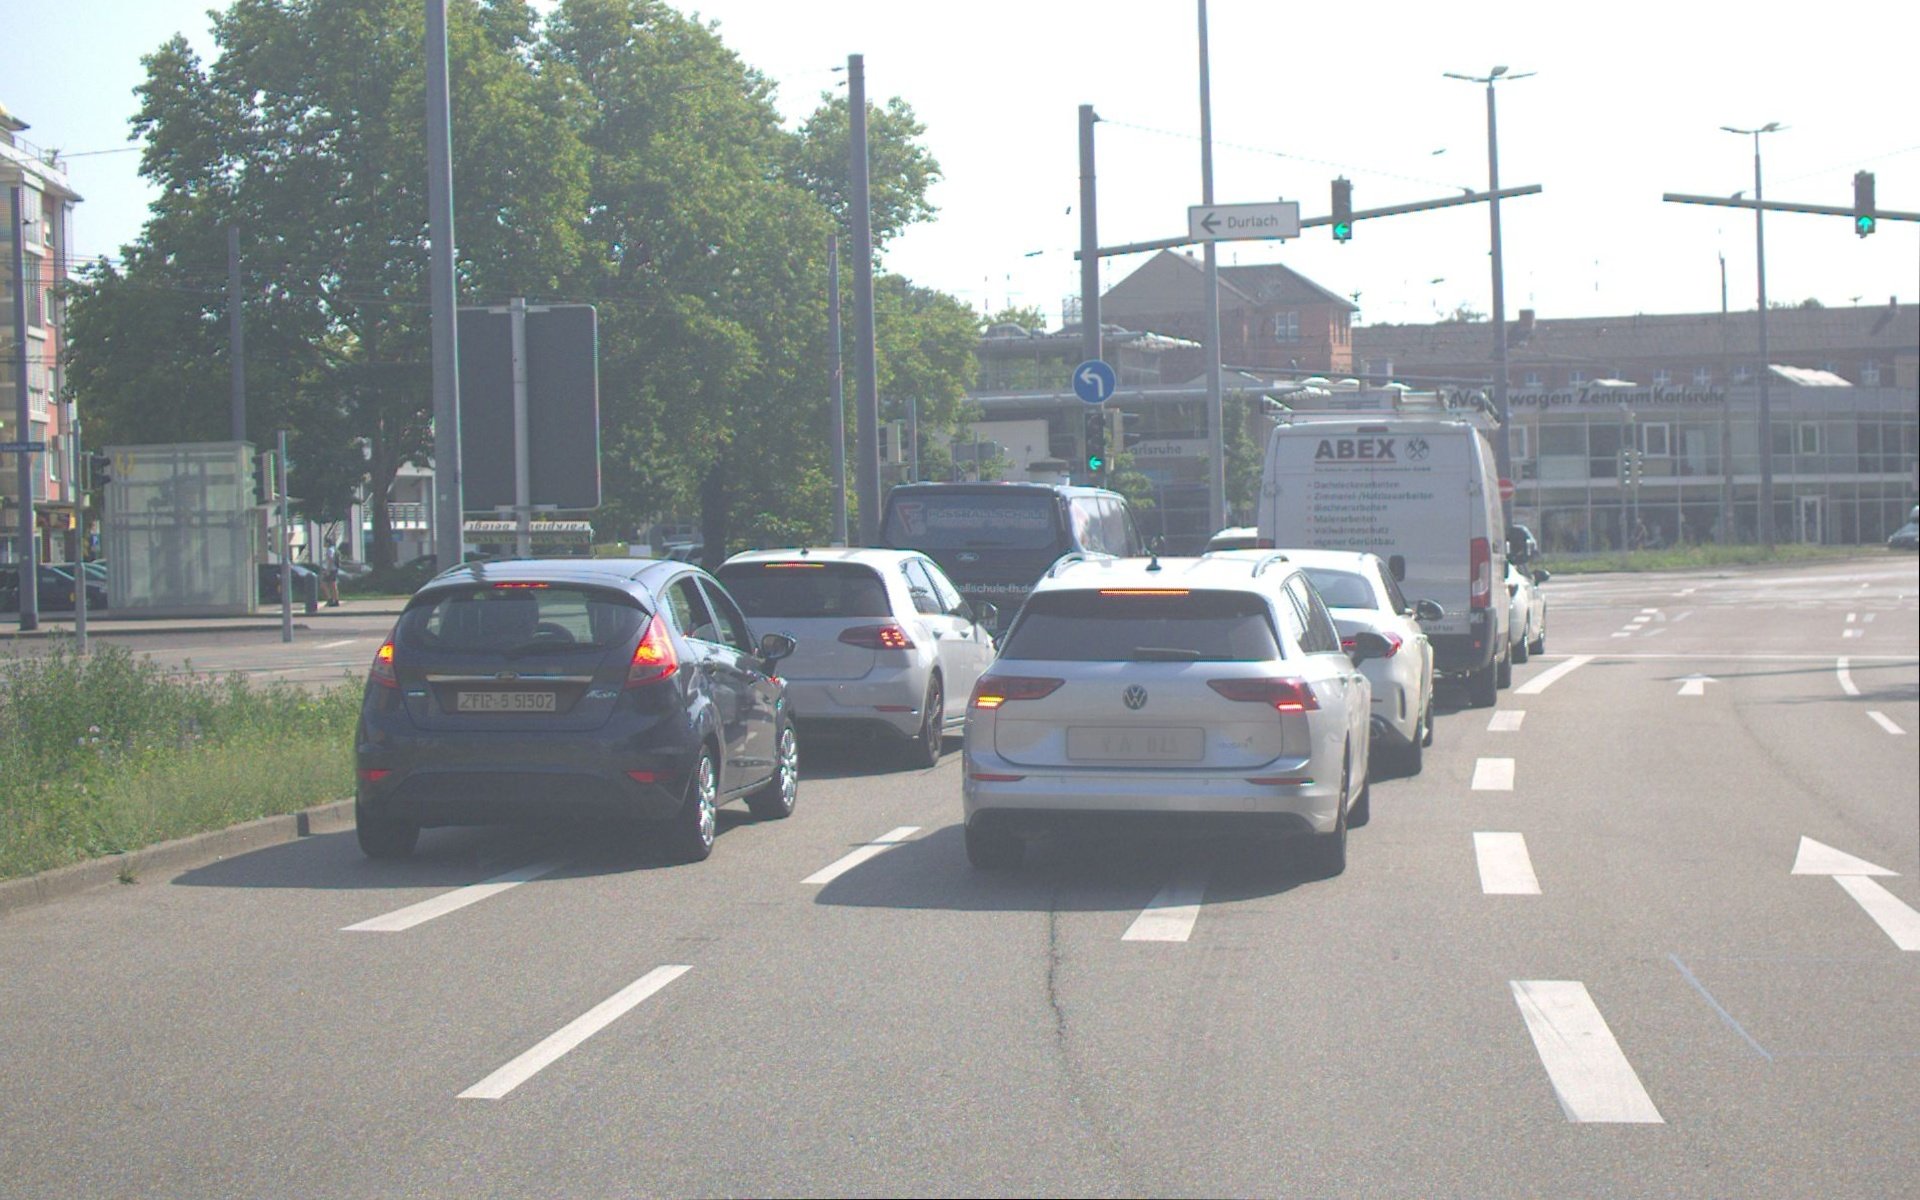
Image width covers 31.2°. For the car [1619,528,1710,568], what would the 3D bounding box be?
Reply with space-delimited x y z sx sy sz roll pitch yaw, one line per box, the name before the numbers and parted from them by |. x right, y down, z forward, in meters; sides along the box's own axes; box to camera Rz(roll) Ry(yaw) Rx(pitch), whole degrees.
car | 26.676 -1.969 130.136 1.997 1.437 3.993 -1 1 33

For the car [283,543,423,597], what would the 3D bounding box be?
car | -18.435 -0.930 104.529 3.986 1.552 1.728 -1 1 -4

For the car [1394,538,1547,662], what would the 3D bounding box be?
car | 6.209 -0.030 41.572 1.638 1.398 3.685 -1 1 11

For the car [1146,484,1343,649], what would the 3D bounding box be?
car | 3.730 -0.455 44.394 2.024 2.001 4.681 0 1 11

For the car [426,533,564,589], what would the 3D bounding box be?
car | -14.384 -1.218 106.477 3.987 1.612 1.813 -1 1 1

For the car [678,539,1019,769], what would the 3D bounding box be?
car | -0.688 0.317 23.642 1.490 1.410 3.646 -1 2 12

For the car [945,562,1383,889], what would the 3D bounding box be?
car | 1.085 0.520 16.522 1.685 1.383 3.633 0 1 10

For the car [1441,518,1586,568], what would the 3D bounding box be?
car | 15.951 -1.658 99.220 3.966 1.337 1.930 -1 1 5

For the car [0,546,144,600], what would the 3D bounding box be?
car | -27.008 -0.817 104.520 3.986 1.552 1.869 -1 1 -4

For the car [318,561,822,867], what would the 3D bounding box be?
car | -1.861 0.501 17.624 1.701 1.363 3.963 -1 1 7

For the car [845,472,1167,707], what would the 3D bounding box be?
car | 0.522 -0.127 31.808 2.024 2.001 4.681 0 1 13

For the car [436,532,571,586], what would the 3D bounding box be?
car | -14.376 -1.293 108.432 3.987 1.612 1.813 -1 1 1

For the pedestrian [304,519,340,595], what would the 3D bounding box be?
pedestrian | -17.049 -1.140 91.904 0.822 2.007 0.509 -1 1 -1

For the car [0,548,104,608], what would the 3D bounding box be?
car | -26.451 -0.614 97.313 3.986 1.552 1.869 -1 4 -2

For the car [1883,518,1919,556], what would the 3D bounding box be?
car | 38.375 -2.546 137.270 1.997 1.437 3.994 -1 1 29

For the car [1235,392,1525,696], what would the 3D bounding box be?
car | 3.910 -0.487 31.283 2.190 2.540 4.681 0 1 12

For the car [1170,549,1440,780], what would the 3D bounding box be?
car | 2.373 0.375 22.917 1.489 1.398 3.941 0 1 10

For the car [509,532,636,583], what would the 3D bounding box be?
car | -12.577 -1.379 111.807 3.986 1.552 1.728 -1 1 -4
